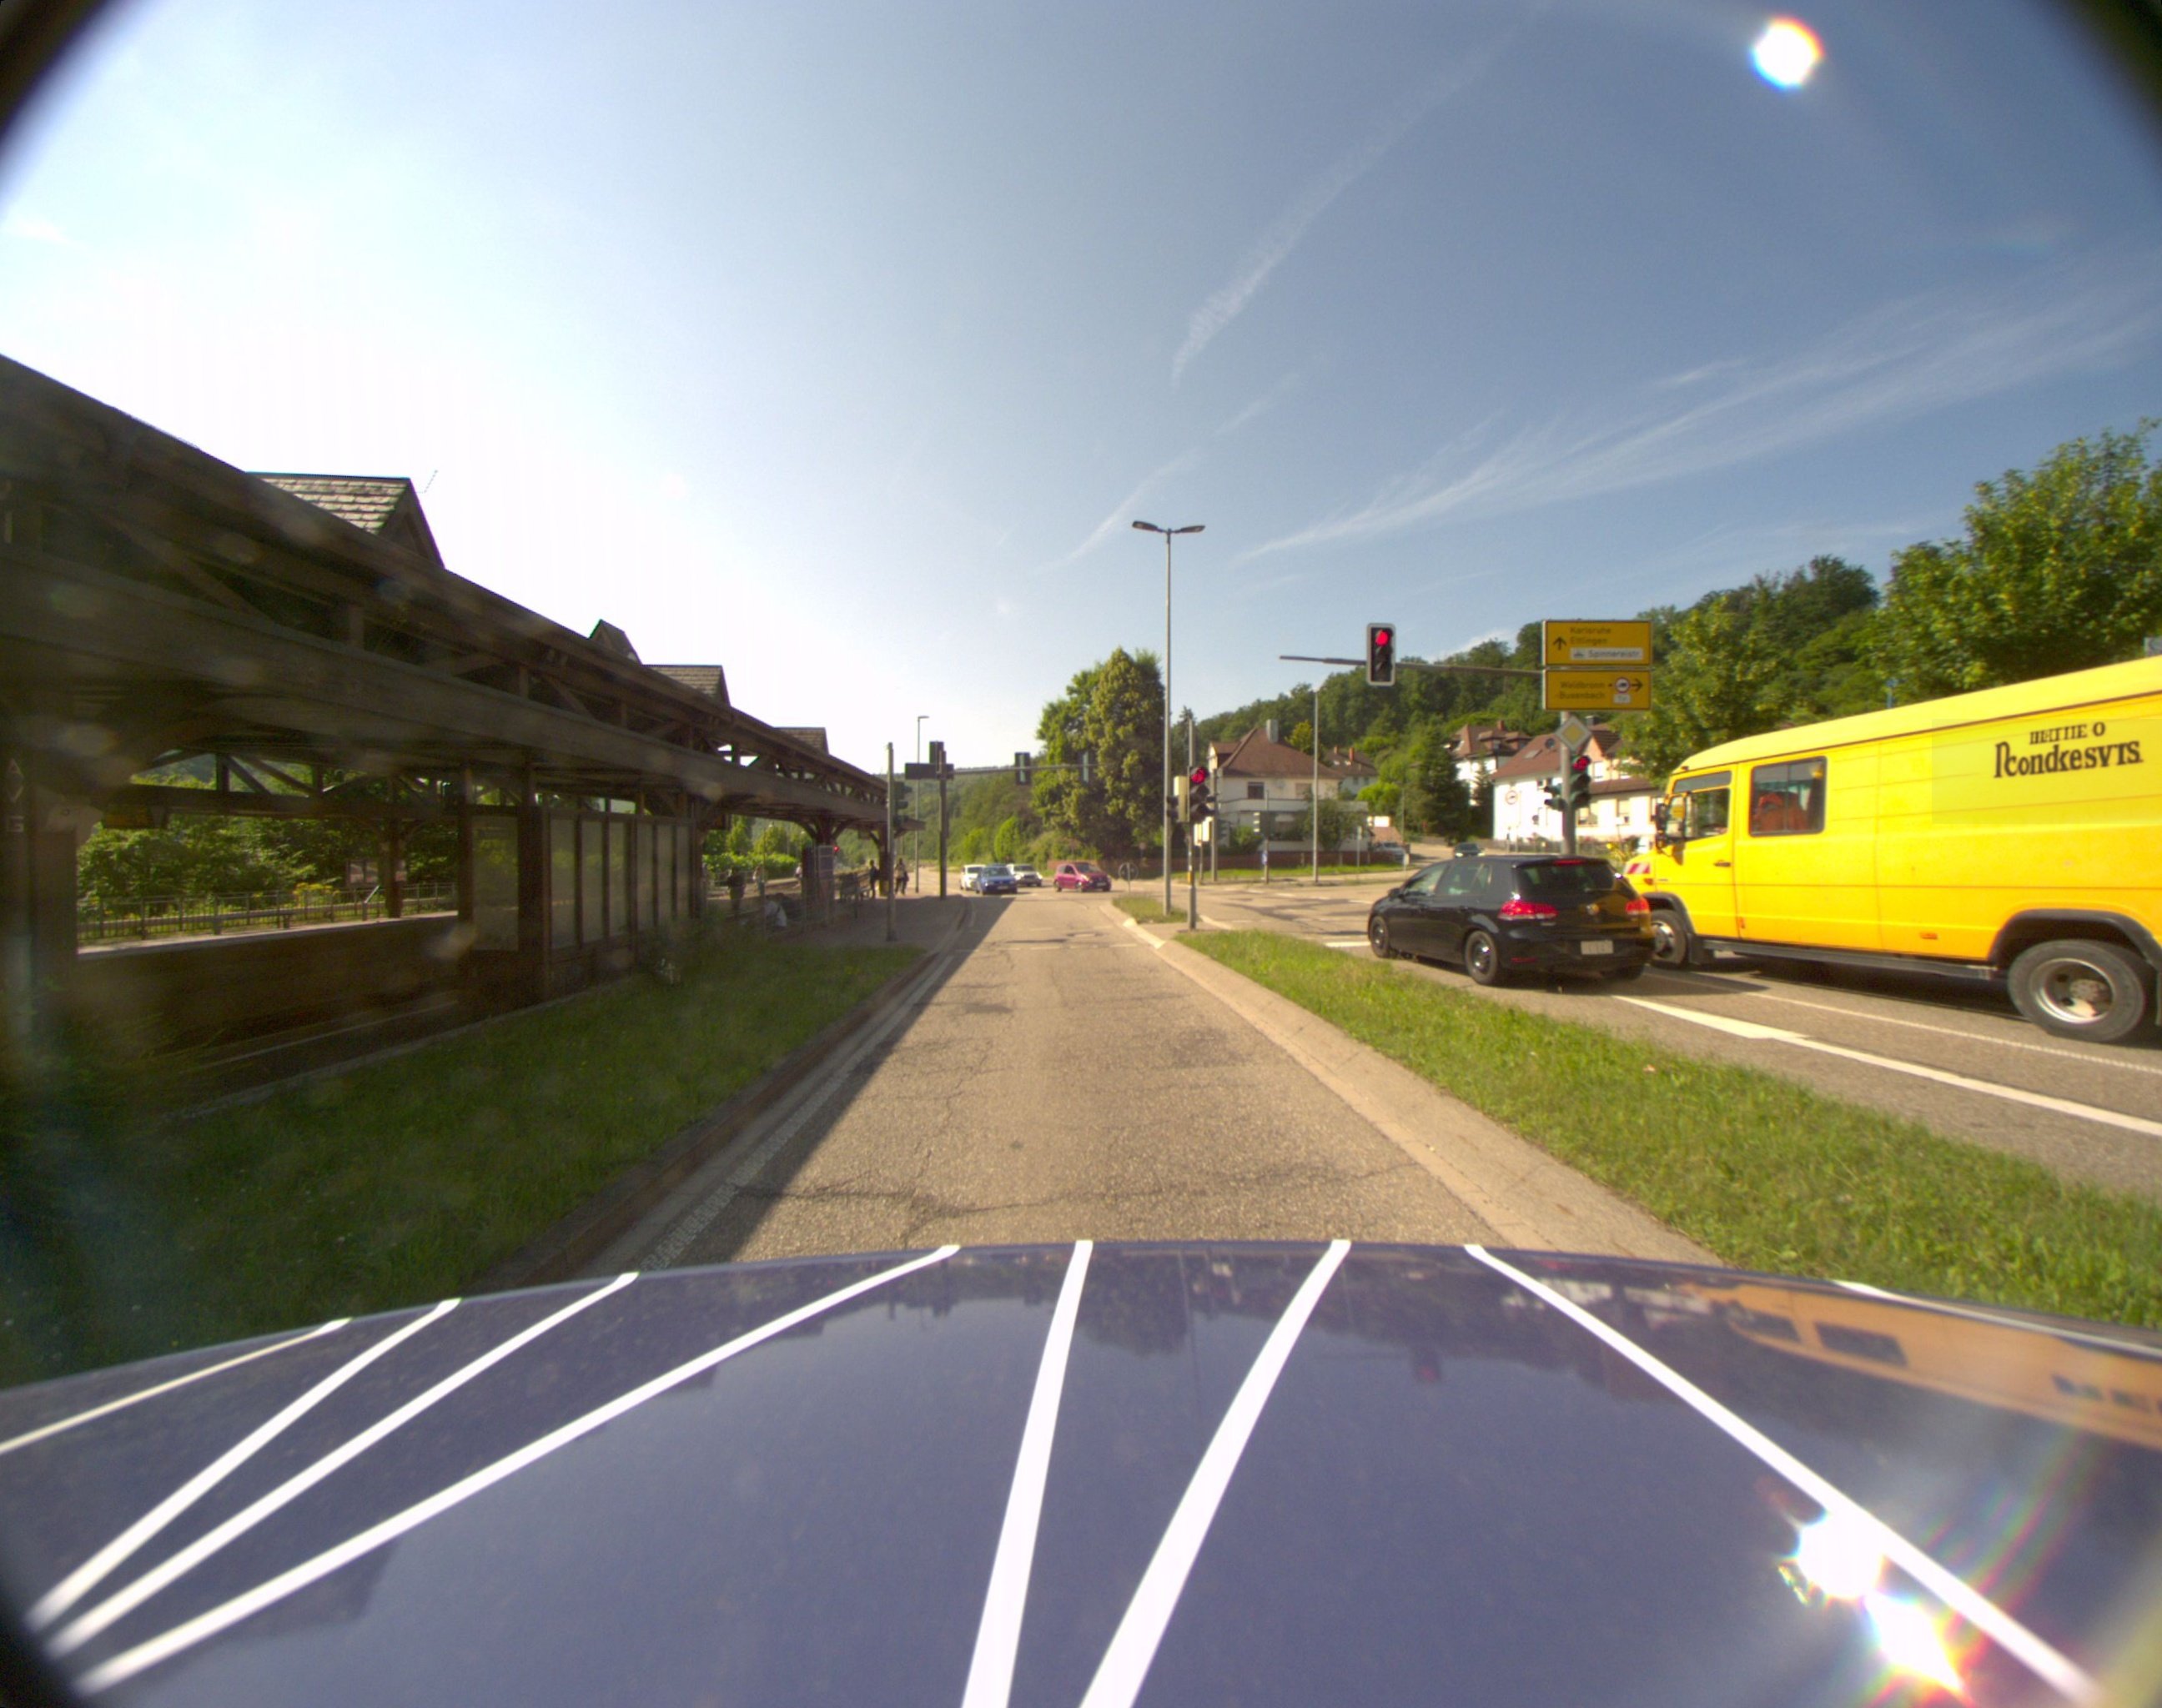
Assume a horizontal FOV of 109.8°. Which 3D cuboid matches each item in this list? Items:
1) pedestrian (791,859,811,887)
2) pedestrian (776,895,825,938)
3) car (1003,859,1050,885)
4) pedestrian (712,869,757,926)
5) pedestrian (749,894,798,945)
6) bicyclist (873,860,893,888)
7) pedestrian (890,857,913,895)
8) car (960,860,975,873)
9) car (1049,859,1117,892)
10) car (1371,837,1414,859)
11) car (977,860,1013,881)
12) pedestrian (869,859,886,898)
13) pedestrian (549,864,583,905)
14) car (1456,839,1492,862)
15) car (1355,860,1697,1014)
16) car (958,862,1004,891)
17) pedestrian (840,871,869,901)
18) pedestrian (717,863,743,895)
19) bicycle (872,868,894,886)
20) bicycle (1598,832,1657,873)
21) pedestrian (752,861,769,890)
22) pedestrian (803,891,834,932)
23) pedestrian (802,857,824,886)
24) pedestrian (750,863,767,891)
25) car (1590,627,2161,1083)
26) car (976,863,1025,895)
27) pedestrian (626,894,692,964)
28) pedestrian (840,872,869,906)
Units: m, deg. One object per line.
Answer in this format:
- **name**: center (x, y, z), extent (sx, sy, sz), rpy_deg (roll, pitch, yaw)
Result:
- **pedestrian**: center (-17.269, 1.148, 46.866), extent (0.868, 1.674, 0.822), rpy_deg (-3, -1, -7)
- **pedestrian**: center (-6.375, 1.416, 17.314), extent (0.847, 0.869, 0.807), rpy_deg (-3, -1, -7)
- **car**: center (-3.556, 1.187, 48.589), extent (1.982, 1.495, 4.745), rpy_deg (-2, -1, -17)
- **pedestrian**: center (-9.741, 1.201, 21.393), extent (0.863, 1.538, 0.922), rpy_deg (-1, -1, -5)
- **pedestrian**: center (-6.419, 1.364, 15.895), extent (0.744, 0.976, 0.769), rpy_deg (-3, -1, -7)
- **bicyclist**: center (-11.540, 1.186, 44.327), extent (0.788, 1.559, 0.945), rpy_deg (-3, 1, -31)
- **pedestrian**: center (-8.635, 1.060, 36.554), extent (0.917, 1.726, 1.250), rpy_deg (-3, -1, -11)
- **car**: center (-16.384, 1.836, 109.478), extent (2.000, 1.739, 3.998), rpy_deg (-3, -1, -9)
- **car**: center (0.039, 1.071, 37.870), extent (1.664, 1.525, 3.946), rpy_deg (-1, -1, -28)
- **car**: center (25.834, -0.476, 63.135), extent (1.939, 1.627, 4.001), rpy_deg (-3, -1, 2)
- **car**: center (-6.669, 1.261, 58.706), extent (1.982, 1.495, 3.982), rpy_deg (-2, -1, -17)
- **pedestrian**: center (-8.880, 1.061, 33.136), extent (0.659, 1.682, 0.738), rpy_deg (-1, 0, -13)
- **pedestrian**: center (-21.866, 1.290, 32.289), extent (0.736, 1.674, 0.904), rpy_deg (-3, -1, 0)
- **car**: center (27.809, -0.227, 53.885), extent (1.976, 1.475, 4.759), rpy_deg (-3, -1, 24)
- **car**: center (5.108, 0.825, 9.469), extent (1.750, 1.454, 4.042), rpy_deg (-1, 0, -3)
- **car**: center (-6.037, 1.309, 45.397), extent (2.001, 1.575, 3.994), rpy_deg (-3, 0, -17)
- **pedestrian**: center (-9.076, 1.271, 30.445), extent (1.010, 1.153, 0.947), rpy_deg (-2, 1, -13)
- **pedestrian**: center (-21.011, 1.498, 45.518), extent (0.990, 1.831, 1.073), rpy_deg (-2, -1, 0)
- **bicycle**: center (-11.532, 1.339, 44.214), extent (0.605, 1.049, 1.809), rpy_deg (-3, 0, -35)
- **bicycle**: center (18.303, -0.014, 25.510), extent (0.620, 1.247, 1.758), rpy_deg (-6, -2, 2)
- **pedestrian**: center (-19.350, 1.309, 45.881), extent (0.905, 1.674, 0.821), rpy_deg (-3, -1, -23)
- **pedestrian**: center (-6.542, 1.417, 18.927), extent (0.619, 0.960, 0.406), rpy_deg (-3, -1, -7)
- **pedestrian**: center (-16.372, 1.079, 46.365), extent (0.901, 1.674, 0.824), rpy_deg (-3, -1, 32)
- **pedestrian**: center (-20.035, 1.440, 47.209), extent (0.558, 1.674, 0.685), rpy_deg (-3, -1, 21)
- **car**: center (8.231, -0.036, 6.960), extent (2.474, 2.993, 6.464), rpy_deg (-3, 0, -3)
- **car**: center (-4.138, 1.228, 38.302), extent (1.867, 1.474, 4.297), rpy_deg (-1, 0, -14)
- **pedestrian**: center (-7.177, 1.258, 12.944), extent (0.744, 1.110, 0.667), rpy_deg (-3, -1, -7)
- **pedestrian**: center (-8.714, 1.344, 29.260), extent (0.994, 1.228, 0.596), rpy_deg (-3, -1, -14)
